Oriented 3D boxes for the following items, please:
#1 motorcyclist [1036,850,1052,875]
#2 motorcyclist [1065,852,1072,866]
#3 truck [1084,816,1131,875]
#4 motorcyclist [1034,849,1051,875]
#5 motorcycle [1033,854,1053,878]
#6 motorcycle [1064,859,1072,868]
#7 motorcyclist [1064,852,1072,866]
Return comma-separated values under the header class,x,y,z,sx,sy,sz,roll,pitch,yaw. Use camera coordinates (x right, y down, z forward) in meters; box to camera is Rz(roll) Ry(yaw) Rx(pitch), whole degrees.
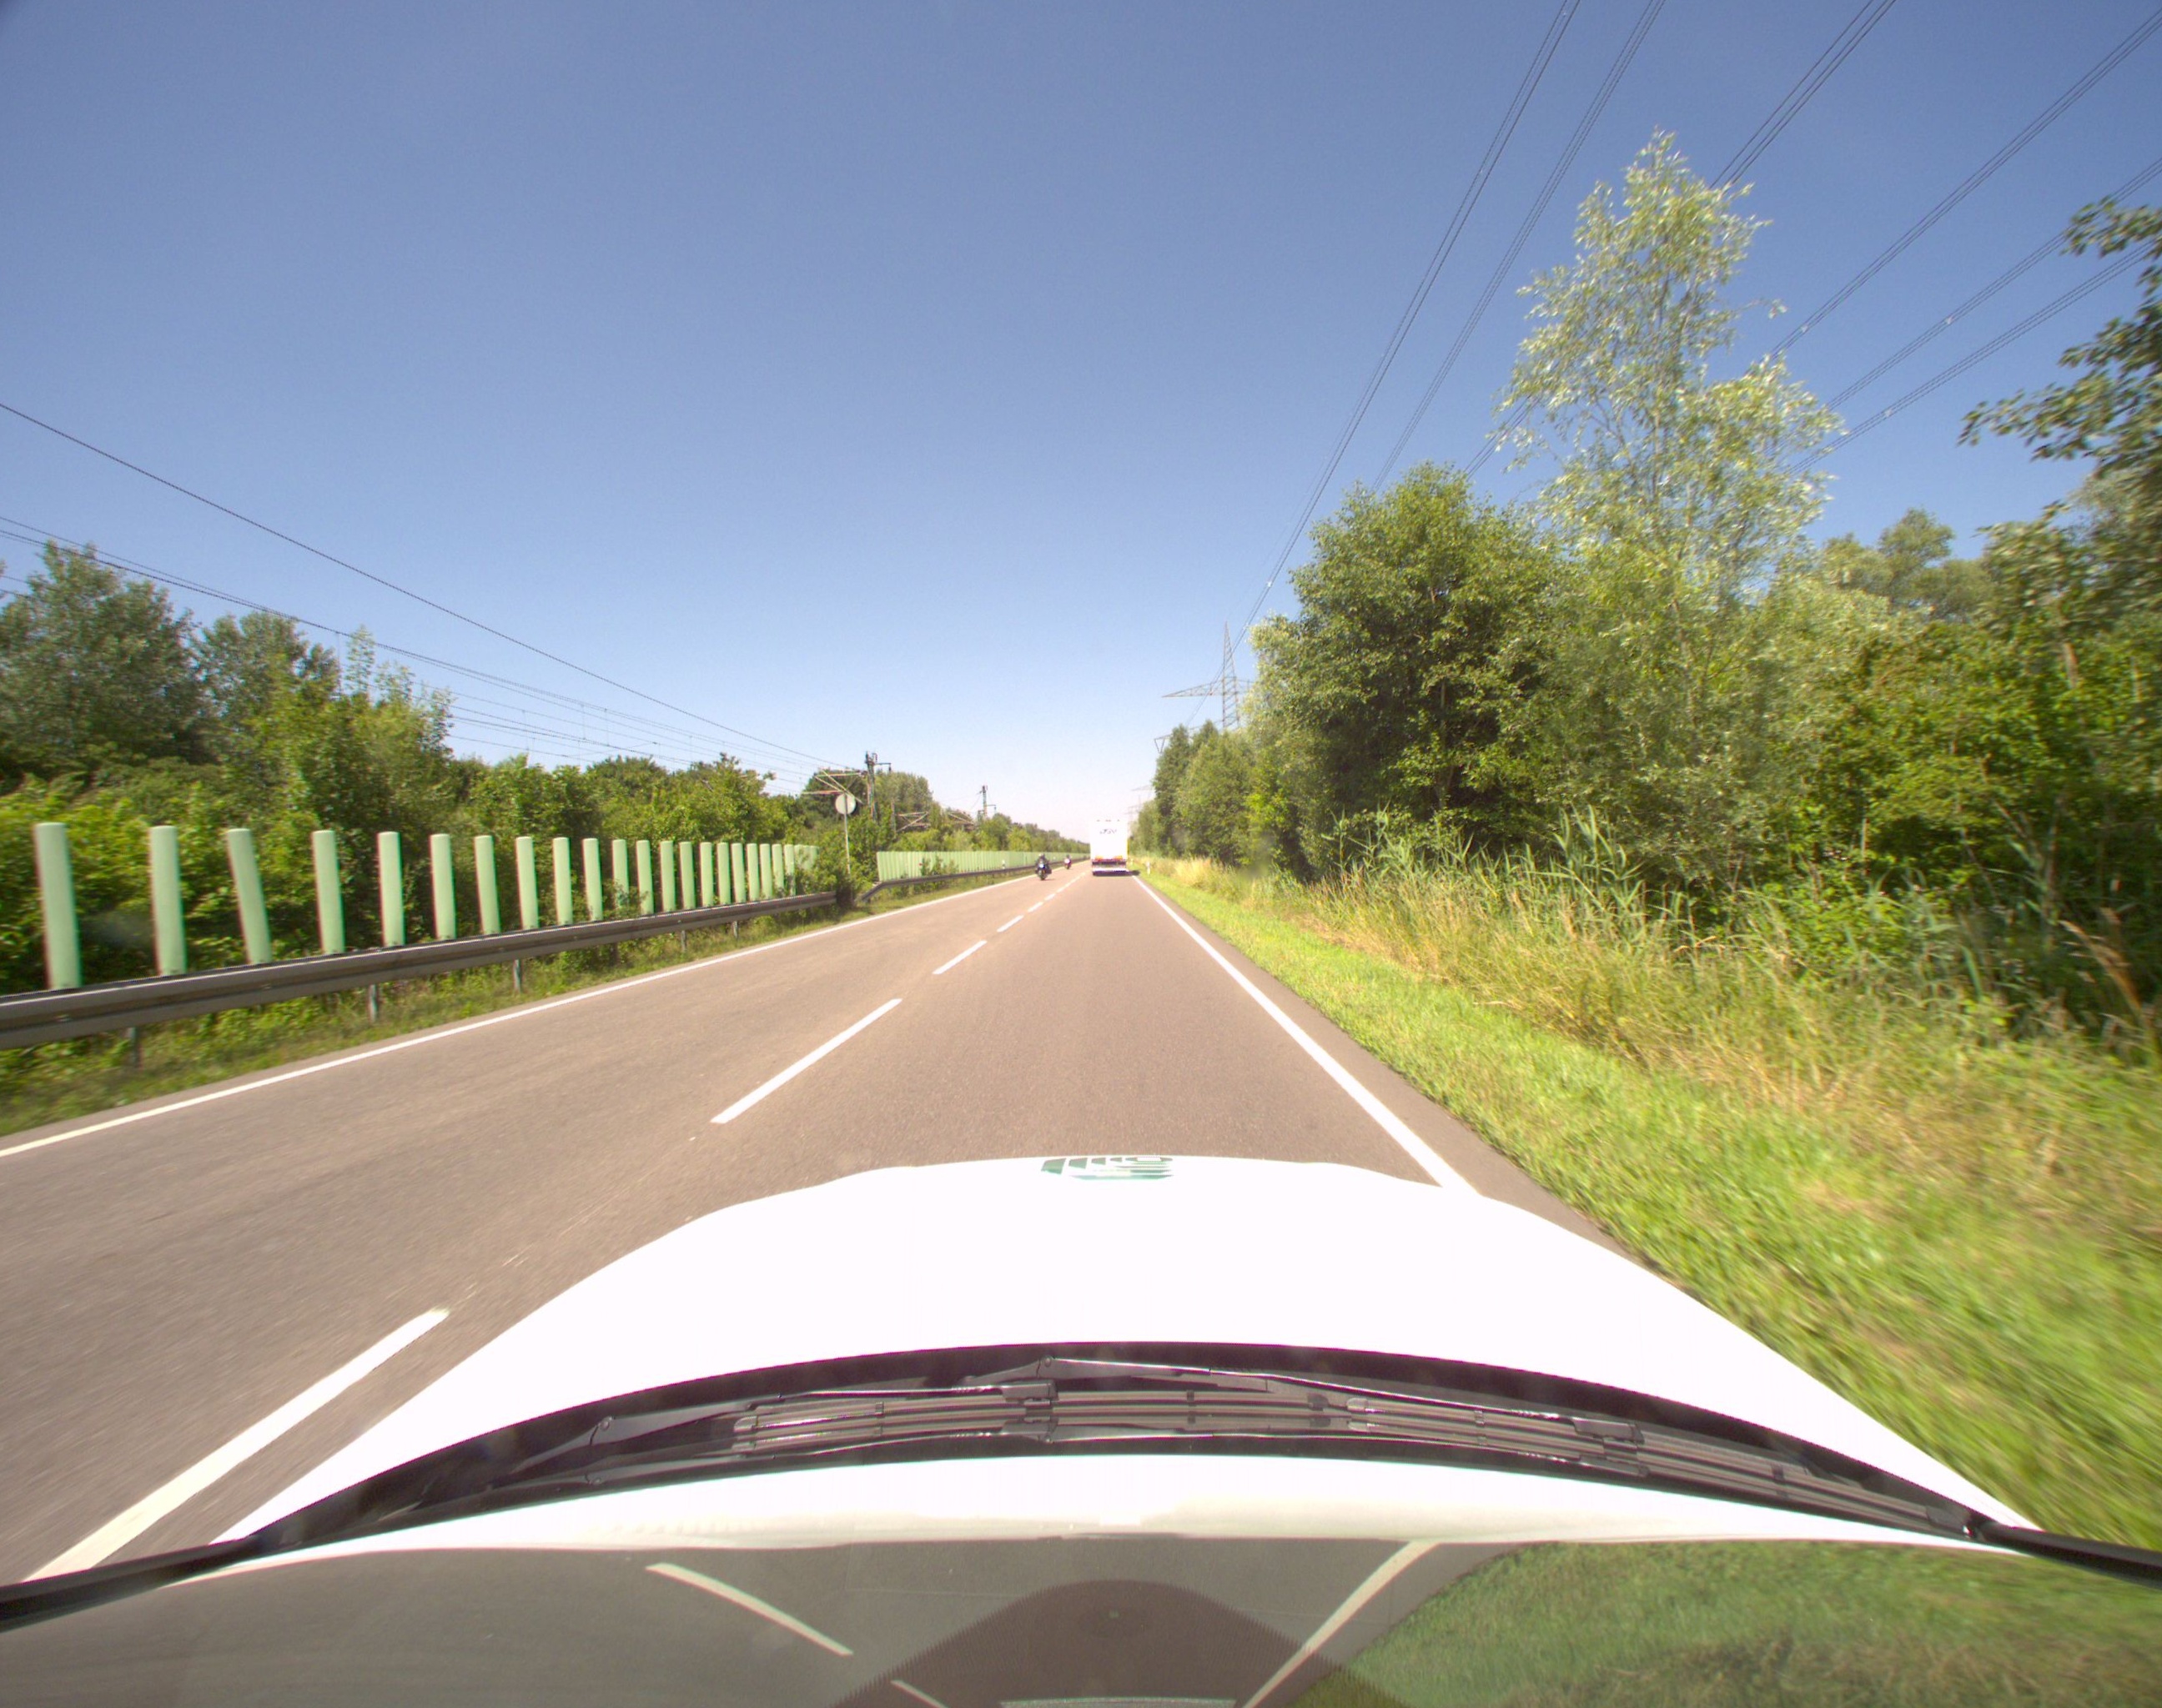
class,x,y,z,sx,sy,sz,roll,pitch,yaw
motorcyclist,-2.369,0.530,52.574,0.955,1.609,1.004,0,-1,3
motorcyclist,-1.368,0.523,90.649,0.746,1.583,0.864,0,-1,3
truck,2.009,-0.602,62.590,3.180,4.042,12.011,-2,0,2
motorcyclist,-2.436,0.516,51.568,0.955,1.609,1.004,0,-1,3
motorcycle,-2.415,0.743,51.895,0.964,1.496,2.632,0,0,3
motorcycle,-1.417,1.065,89.913,0.751,1.014,2.723,0,0,4
motorcyclist,-1.425,0.552,89.702,0.755,1.583,1.004,0,-1,3
